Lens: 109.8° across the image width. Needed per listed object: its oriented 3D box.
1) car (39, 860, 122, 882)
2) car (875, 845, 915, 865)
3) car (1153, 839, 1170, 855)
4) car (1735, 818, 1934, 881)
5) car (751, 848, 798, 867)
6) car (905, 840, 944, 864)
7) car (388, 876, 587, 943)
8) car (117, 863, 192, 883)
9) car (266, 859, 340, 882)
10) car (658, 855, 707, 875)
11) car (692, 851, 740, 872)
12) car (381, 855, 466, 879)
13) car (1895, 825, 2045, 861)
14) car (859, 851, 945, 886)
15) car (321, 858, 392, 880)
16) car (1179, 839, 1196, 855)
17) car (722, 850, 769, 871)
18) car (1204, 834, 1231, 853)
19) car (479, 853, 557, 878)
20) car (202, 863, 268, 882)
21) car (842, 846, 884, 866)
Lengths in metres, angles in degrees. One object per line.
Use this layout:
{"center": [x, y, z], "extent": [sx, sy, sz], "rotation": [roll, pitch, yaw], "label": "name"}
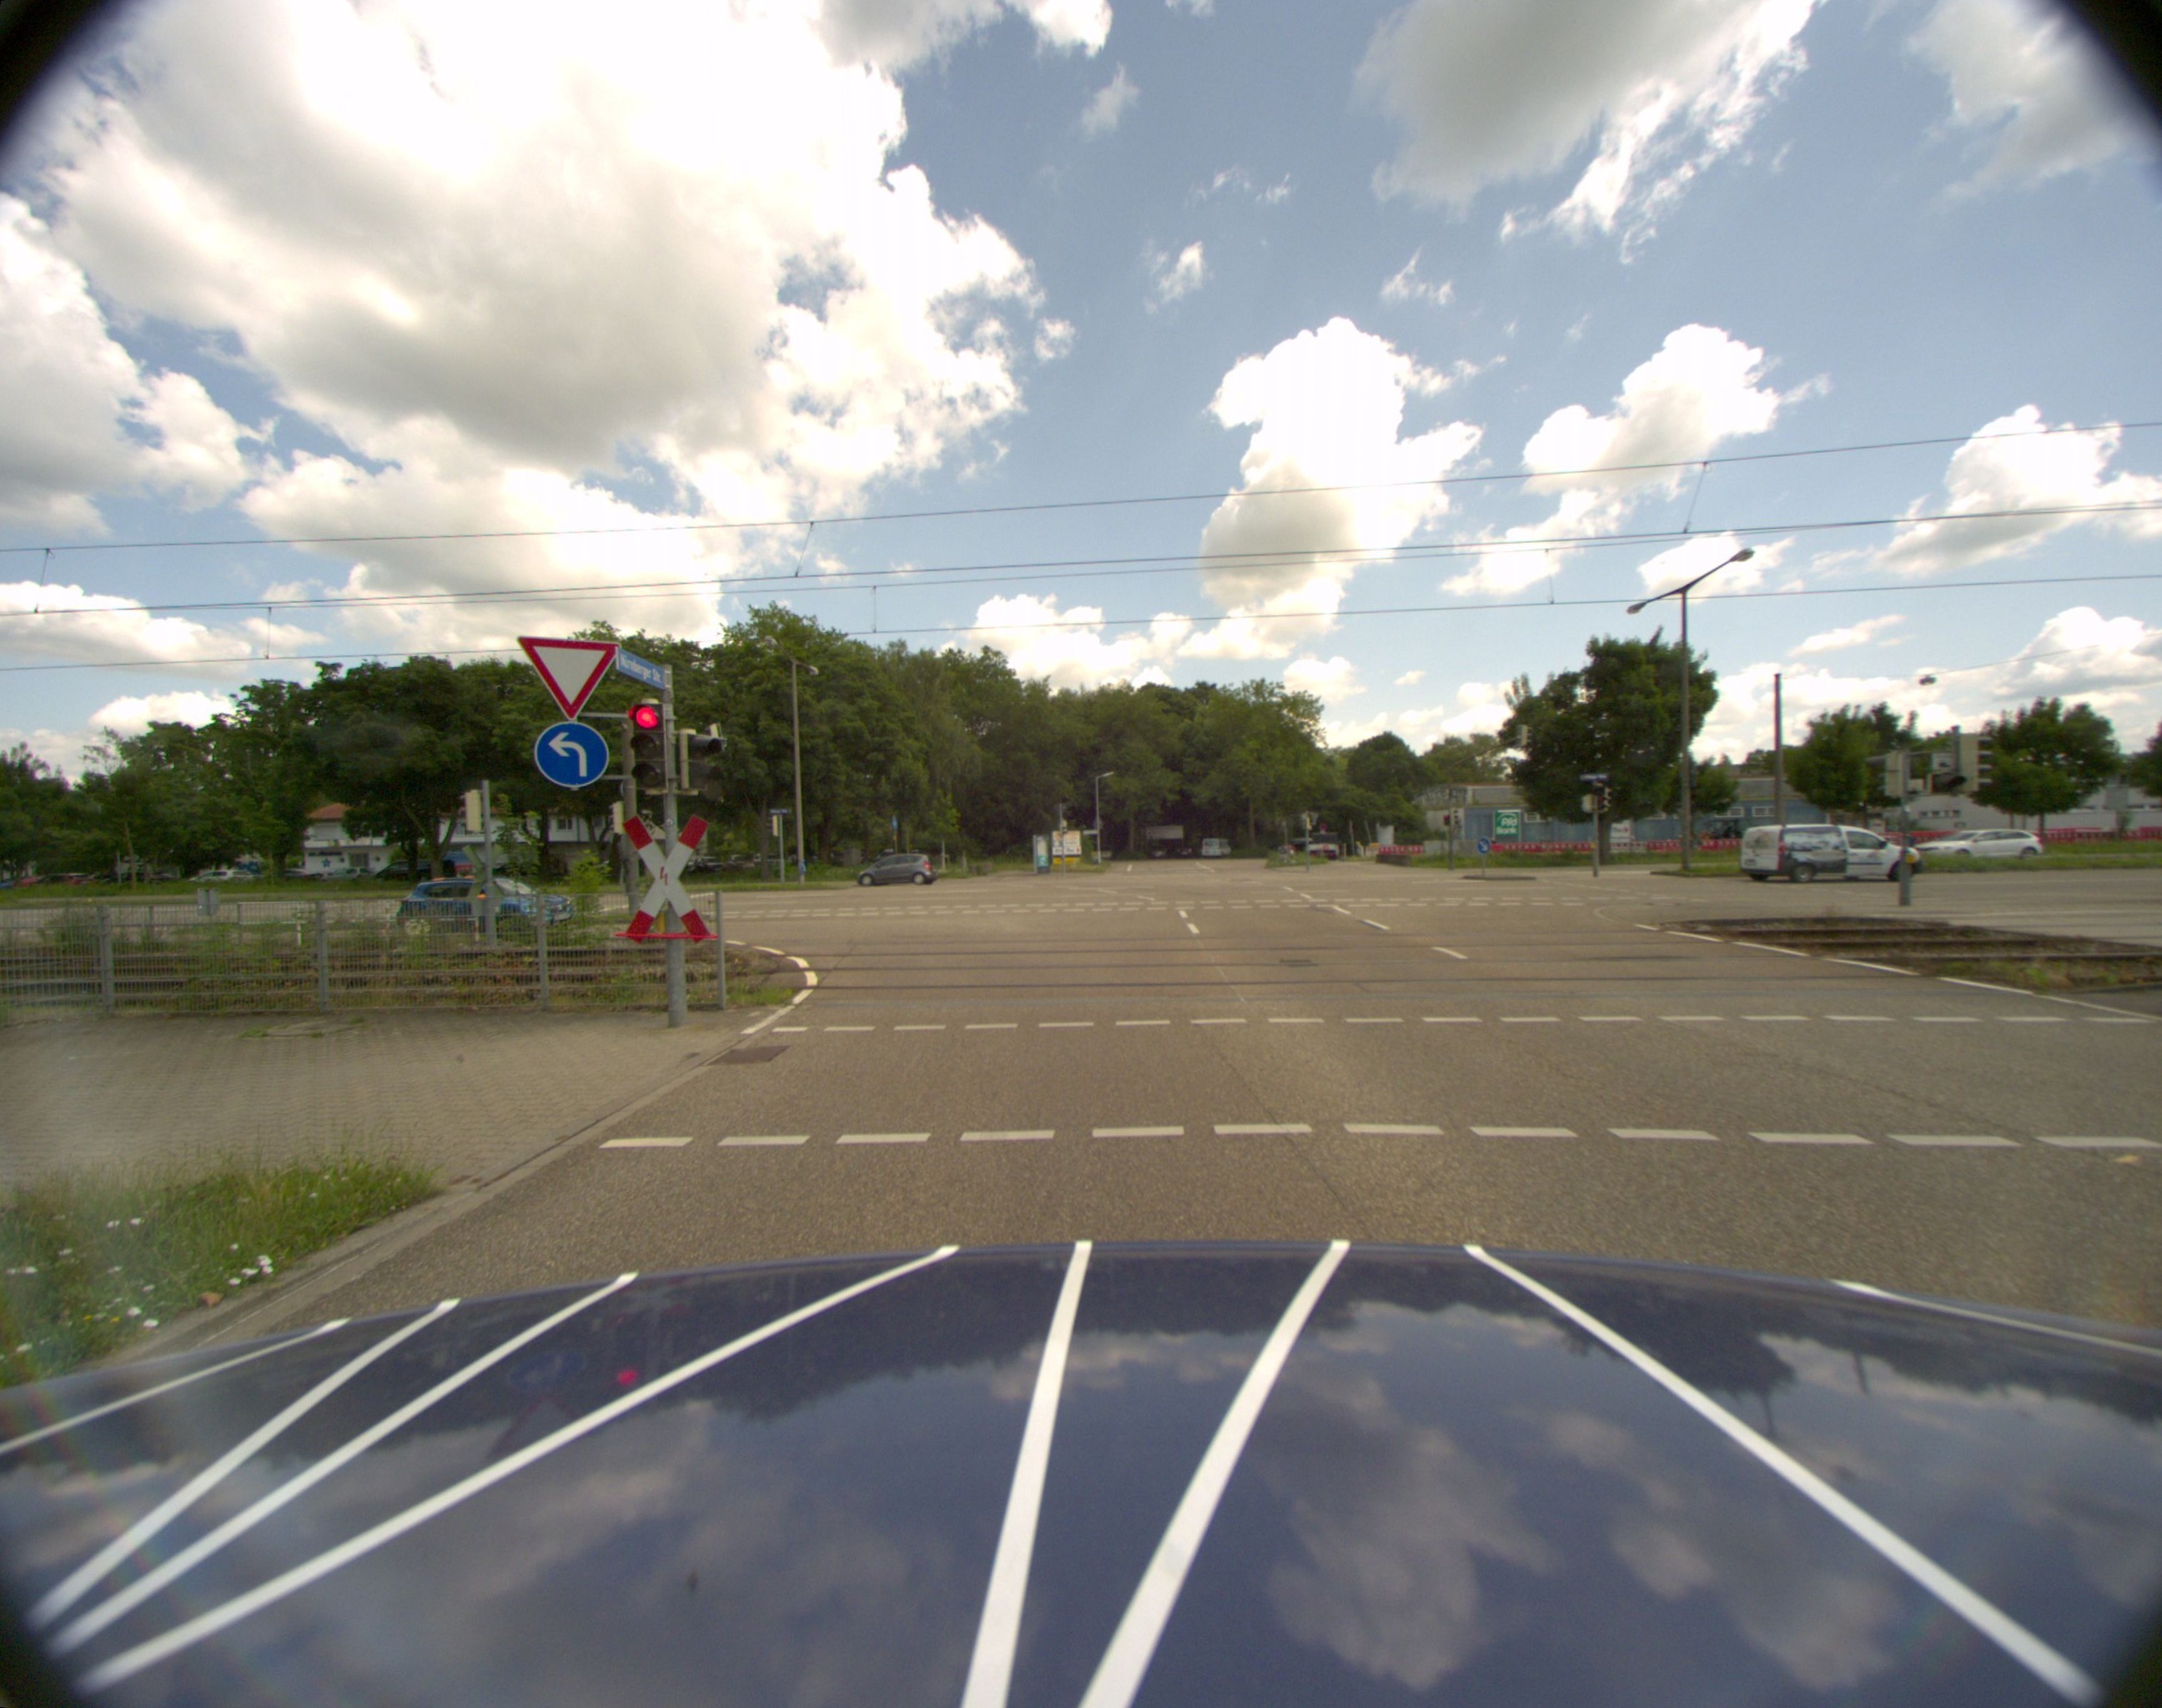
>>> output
{"center": [-78.224, 1.298, 59.434], "extent": [4.018, 1.578, 2.000], "rotation": [-1, 1, 5], "label": "car"}
{"center": [-16.797, 0.087, 68.813], "extent": [1.816, 1.700, 4.131], "rotation": [-1, 1, 13], "label": "car"}
{"center": [8.196, -0.696, 77.501], "extent": [1.618, 1.500, 3.620], "rotation": [-1, 2, 6], "label": "car"}
{"center": [23.100, -0.160, 23.441], "extent": [4.151, 1.775, 1.748], "rotation": [-1, 2, 6], "label": "car"}
{"center": [-26.281, 0.347, 65.127], "extent": [4.011, 1.536, 2.004], "rotation": [-1, 1, 41], "label": "car"}
{"center": [-13.920, -0.181, 67.747], "extent": [1.997, 2.002, 4.003], "rotation": [-1, 1, 11], "label": "car"}
{"center": [-14.315, 1.319, 18.424], "extent": [3.698, 1.455, 1.606], "rotation": [-1, 0, 7], "label": "car"}
{"center": [-71.871, 1.439, 58.956], "extent": [3.861, 1.403, 1.731], "rotation": [-1, 1, 5], "label": "car"}
{"center": [-59.843, 1.254, 58.451], "extent": [4.018, 1.578, 1.764], "rotation": [-1, 1, 5], "label": "car"}
{"center": [-31.071, 0.837, 59.270], "extent": [4.011, 1.475, 2.004], "rotation": [-1, 1, 41], "label": "car"}
{"center": [-29.454, 0.610, 61.347], "extent": [4.011, 1.578, 2.004], "rotation": [-1, 1, 41], "label": "car"}
{"center": [-49.774, 0.967, 57.552], "extent": [4.923, 1.701, 1.889], "rotation": [-1, 1, 5], "label": "car"}
{"center": [39.903, -0.515, 34.190], "extent": [4.168, 1.496, 2.000], "rotation": [-1, 2, 4], "label": "car"}
{"center": [-8.782, 0.700, 37.504], "extent": [3.769, 1.584, 1.791], "rotation": [-1, 1, 2], "label": "car"}
{"center": [-55.486, 1.137, 58.202], "extent": [3.662, 1.578, 1.923], "rotation": [-1, 1, 5], "label": "car"}
{"center": [10.815, -0.694, 77.305], "extent": [1.618, 1.500, 3.620], "rotation": [-1, 2, 6], "label": "car"}
{"center": [-27.999, 0.553, 63.304], "extent": [4.012, 1.578, 2.004], "rotation": [-3, 0, 41], "label": "car"}
{"center": [13.738, -1.066, 76.359], "extent": [1.933, 1.783, 3.624], "rotation": [0, 2, 22], "label": "car"}
{"center": [-42.763, 0.866, 57.797], "extent": [4.363, 1.648, 1.811], "rotation": [-1, 2, -6], "label": "car"}
{"center": [-65.183, 1.450, 58.569], "extent": [3.472, 1.324, 1.627], "rotation": [-1, 1, 5], "label": "car"}
{"center": [-19.634, 0.150, 68.732], "extent": [1.816, 1.718, 4.131], "rotation": [-1, 1, 13], "label": "car"}
